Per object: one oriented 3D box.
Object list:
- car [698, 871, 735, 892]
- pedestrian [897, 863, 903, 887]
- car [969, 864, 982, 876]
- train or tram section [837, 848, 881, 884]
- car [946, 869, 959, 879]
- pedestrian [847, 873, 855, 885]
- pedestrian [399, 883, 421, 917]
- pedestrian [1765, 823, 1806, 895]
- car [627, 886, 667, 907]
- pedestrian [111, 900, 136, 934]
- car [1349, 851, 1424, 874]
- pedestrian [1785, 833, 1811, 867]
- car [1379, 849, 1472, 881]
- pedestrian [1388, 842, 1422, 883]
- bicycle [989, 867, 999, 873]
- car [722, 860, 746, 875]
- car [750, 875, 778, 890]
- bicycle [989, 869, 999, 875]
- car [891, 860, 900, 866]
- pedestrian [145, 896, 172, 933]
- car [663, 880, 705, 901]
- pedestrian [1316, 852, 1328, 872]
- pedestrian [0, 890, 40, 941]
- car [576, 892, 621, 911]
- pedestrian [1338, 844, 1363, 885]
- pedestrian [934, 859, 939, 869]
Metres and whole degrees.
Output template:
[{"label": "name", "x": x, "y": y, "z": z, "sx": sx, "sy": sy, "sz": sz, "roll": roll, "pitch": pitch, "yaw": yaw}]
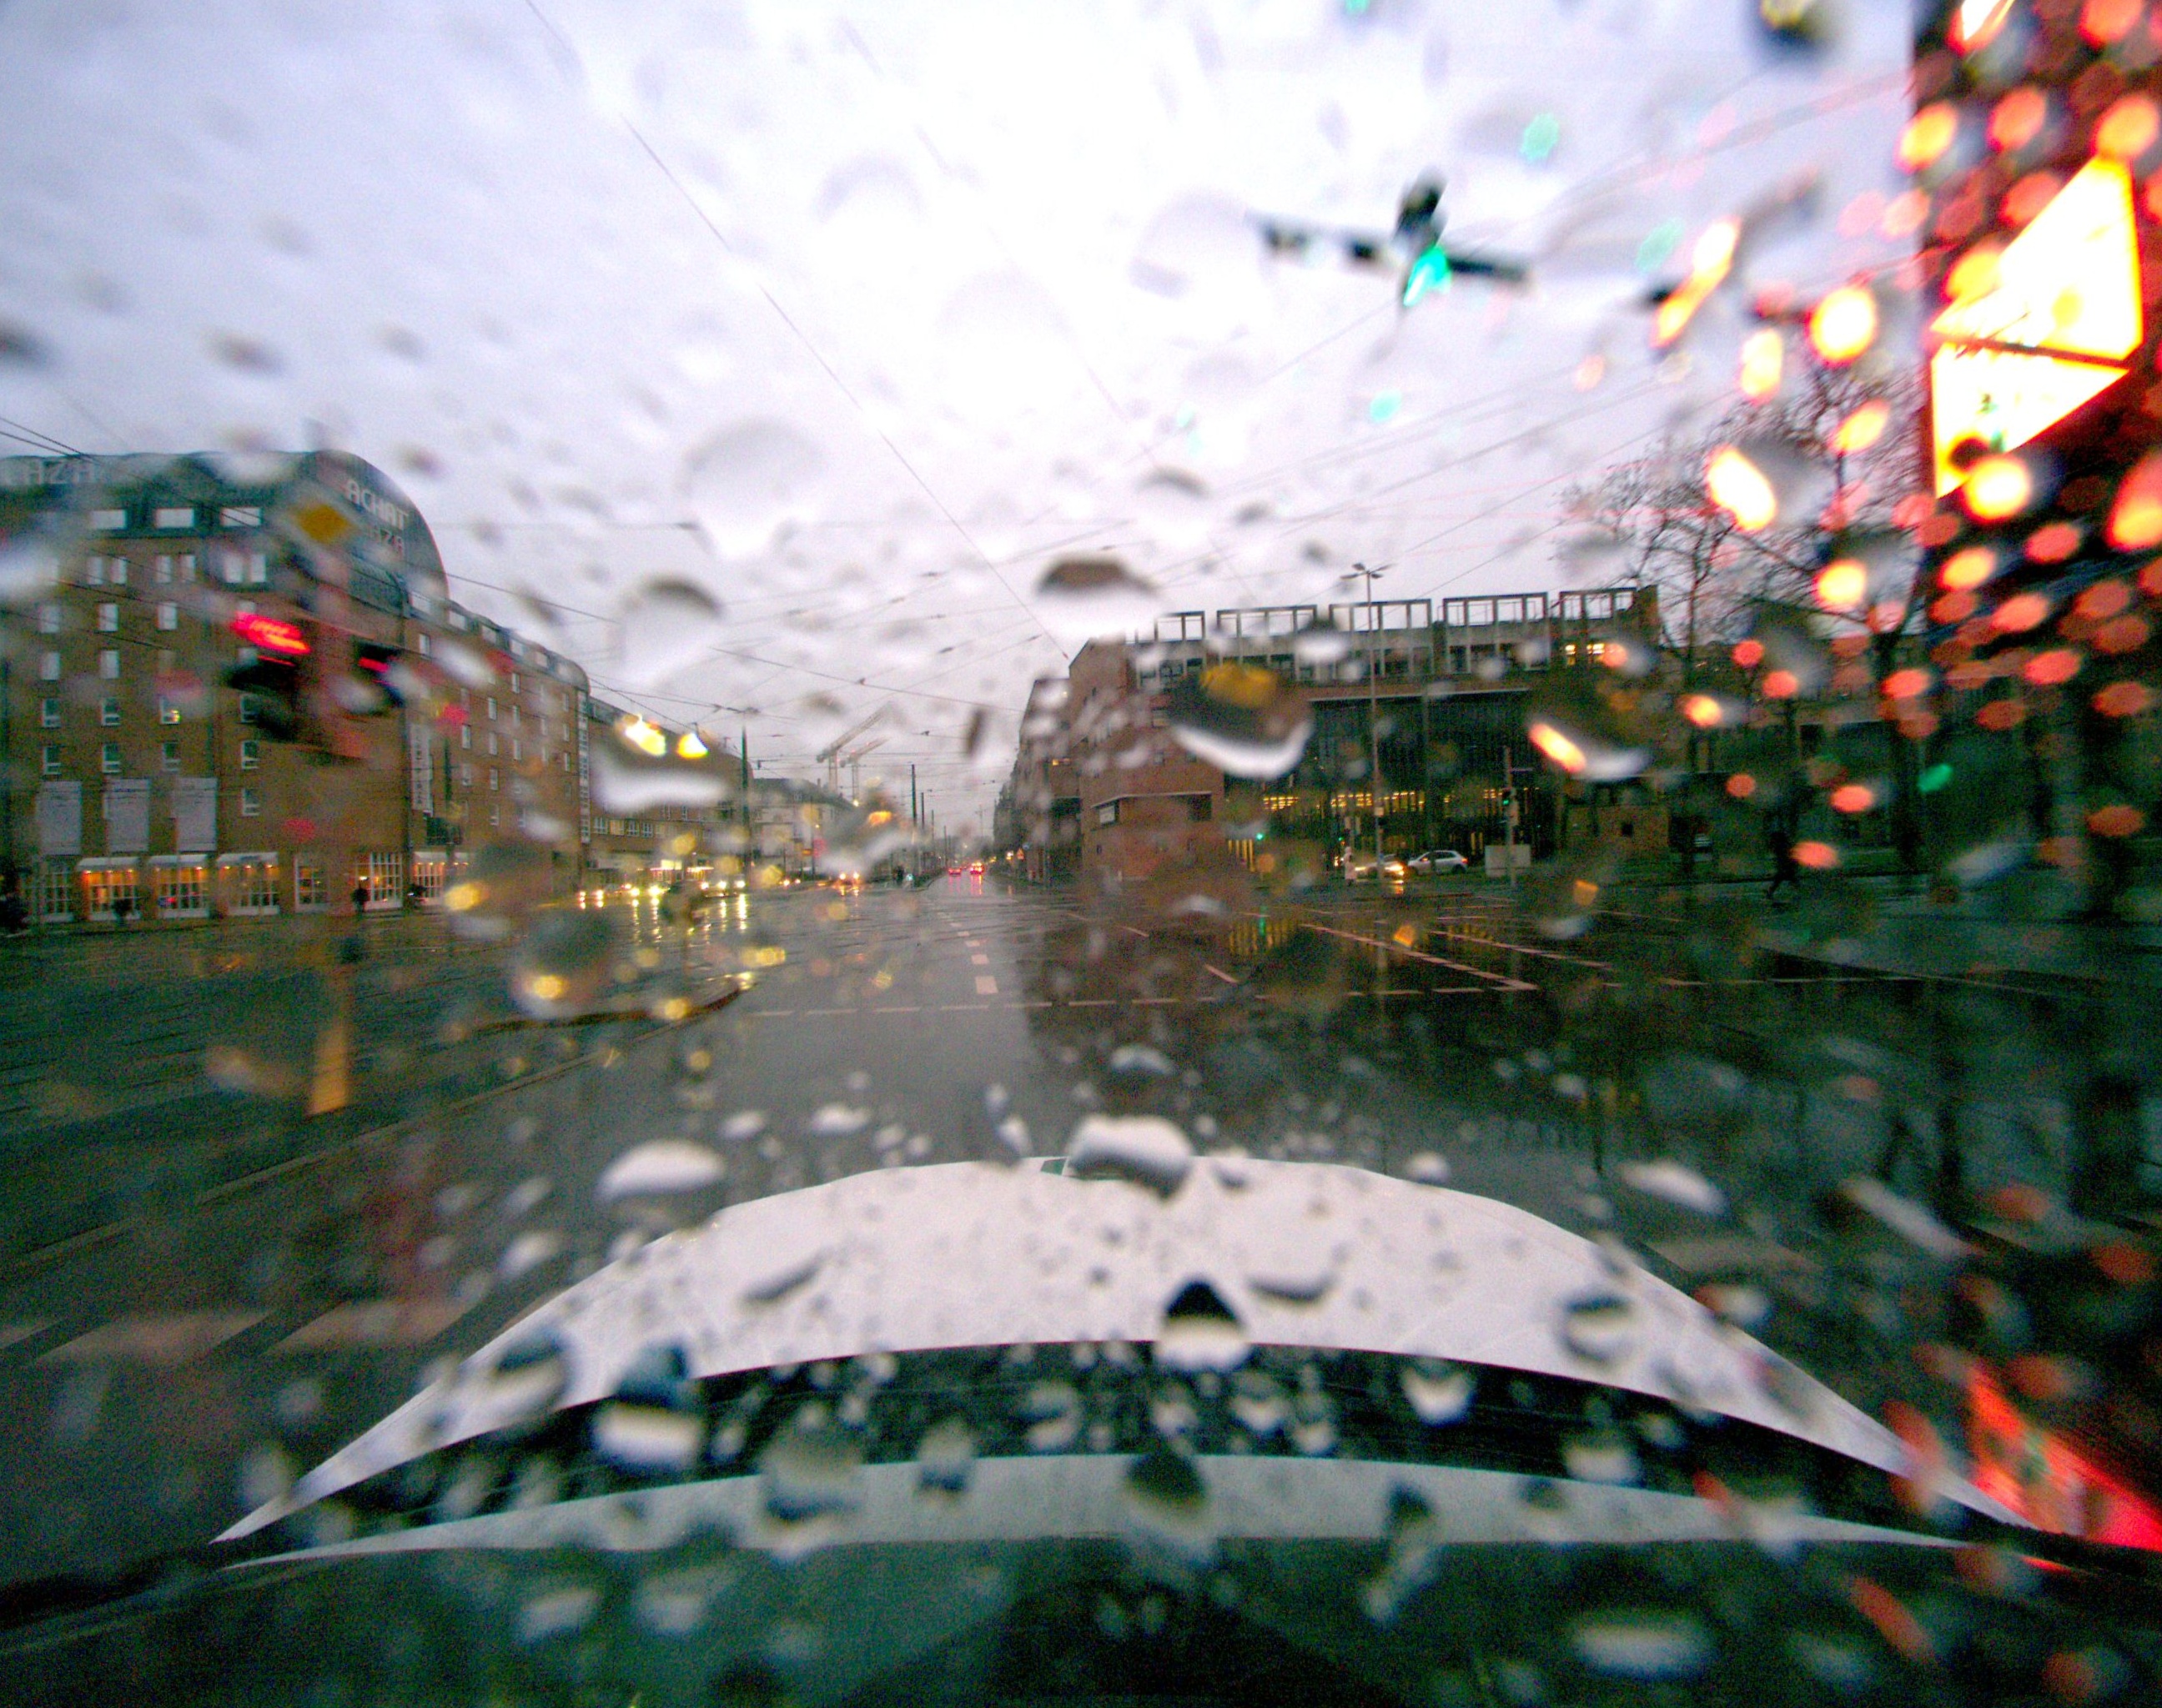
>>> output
[{"label": "car", "x": -33.064, "y": 2.449, "z": 74.022, "sx": 1.828, "sy": 1.709, "sz": 4.691, "roll": -2, "pitch": -1, "yaw": -8}, {"label": "pedestrian", "x": -13.681, "y": 1.588, "z": 61.645, "sx": 0.412, "sy": 1.845, "sz": 0.667, "roll": -1, "pitch": -1, "yaw": -13}, {"label": "car", "x": -18.672, "y": 2.824, "z": 144.081, "sx": 1.991, "sy": 2.014, "sz": 3.991, "roll": -2, "pitch": 0, "yaw": -6}, {"label": "train or tram section", "x": -23.909, "y": 1.285, "z": 88.493, "sx": 2.948, "sy": 3.589, "sz": 12.222, "roll": 0, "pitch": -1, "yaw": -7}, {"label": "car", "x": -20.871, "y": 3.232, "z": 132.561, "sx": 1.782, "sy": 1.467, "sz": 3.141, "roll": -2, "pitch": 0, "yaw": -6}, {"label": "pedestrian", "x": -20.719, "y": 2.253, "z": 73.422, "sx": 0.579, "sy": 1.152, "sz": 0.489, "roll": 0, "pitch": -1, "yaw": -7}, {"label": "pedestrian", "x": -41.762, "y": 2.847, "z": 50.702, "sx": 0.939, "sy": 2.014, "sz": 0.751, "roll": -2, "pitch": -1, "yaw": -31}, {"label": "pedestrian", "x": 18.104, "y": 0.121, "z": 20.924, "sx": 0.805, "sy": 1.811, "sz": 0.643, "roll": -2, "pitch": -1, "yaw": -42}, {"label": "car", "x": -34.876, "y": 3.395, "z": 65.462, "sx": 1.580, "sy": 1.495, "sz": 3.587, "roll": -2, "pitch": -1, "yaw": -7}, {"label": "pedestrian", "x": -45.675, "y": 3.009, "z": 38.857, "sx": 0.515, "sy": 1.538, "sz": 0.577, "roll": -2, "pitch": -1, "yaw": 11}, {"label": "car", "x": 19.103, "y": 0.510, "z": 51.019, "sx": 3.976, "sy": 1.310, "sz": 1.810, "roll": -2, "pitch": -1, "yaw": -6}, {"label": "pedestrian", "x": 29.650, "y": -0.163, "z": 33.680, "sx": 0.603, "sy": 1.364, "sz": 0.479, "roll": -2, "pitch": -1, "yaw": 0}, {"label": "car", "x": 17.664, "y": 0.569, "z": 41.881, "sx": 3.975, "sy": 1.341, "sz": 1.811, "roll": -4, "pitch": -1, "yaw": -6}, {"label": "pedestrian", "x": 14.673, "y": 0.371, "z": 36.940, "sx": 1.147, "sy": 1.787, "sz": 0.775, "roll": -2, "pitch": -1, "yaw": -7}, {"label": "bicycle", "x": -15.903, "y": 2.939, "z": 148.340, "sx": 1.730, "sy": 1.055, "sz": 0.370, "roll": -3, "pitch": 0, "yaw": -10}, {"label": "car", "x": -47.025, "y": 1.836, "z": 110.414, "sx": 1.992, "sy": 2.014, "sz": 3.988, "roll": 0, "pitch": -1, "yaw": -8}, {"label": "car", "x": -29.671, "y": 2.656, "z": 76.361, "sx": 1.681, "sy": 1.354, "sz": 3.535, "roll": -1, "pitch": -1, "yaw": -9}, {"label": "bicycle", "x": -15.956, "y": 3.289, "z": 148.791, "sx": 1.730, "sy": 1.055, "sz": 0.370, "roll": -3, "pitch": 0, "yaw": -10}, {"label": "car", "x": -39.397, "y": 1.904, "z": 172.760, "sx": 1.681, "sy": 1.354, "sz": 3.535, "roll": -1, "pitch": -1, "yaw": -9}, {"label": "pedestrian", "x": -39.634, "y": 2.601, "z": 34.993, "sx": 0.515, "sy": 1.538, "sz": 0.577, "roll": -2, "pitch": -1, "yaw": 11}, {"label": "car", "x": -31.646, "y": 2.886, "z": 65.082, "sx": 1.666, "sy": 1.495, "sz": 4.191, "roll": -2, "pitch": -1, "yaw": -7}, {"label": "pedestrian", "x": 16.892, "y": 0.569, "z": 57.118, "sx": 0.732, "sy": 1.389, "sz": 0.740, "roll": -2, "pitch": -1, "yaw": 13}, {"label": "pedestrian", "x": -43.454, "y": 2.520, "z": 33.333, "sx": 0.702, "sy": 2.014, "sz": 0.760, "roll": -2, "pitch": -1, "yaw": 2}, {"label": "car", "x": -39.660, "y": 3.920, "z": 67.107, "sx": 1.610, "sy": 1.321, "sz": 4.217, "roll": -2, "pitch": -1, "yaw": -7}, {"label": "pedestrian", "x": 12.033, "y": 0.457, "z": 36.352, "sx": 0.734, "sy": 1.787, "sz": 0.732, "roll": -2, "pitch": -1, "yaw": -11}, {"label": "pedestrian", "x": -22.009, "y": 1.517, "z": 123.899, "sx": 0.682, "sy": 1.516, "sz": 0.614, "roll": -1, "pitch": -1, "yaw": -21}]
